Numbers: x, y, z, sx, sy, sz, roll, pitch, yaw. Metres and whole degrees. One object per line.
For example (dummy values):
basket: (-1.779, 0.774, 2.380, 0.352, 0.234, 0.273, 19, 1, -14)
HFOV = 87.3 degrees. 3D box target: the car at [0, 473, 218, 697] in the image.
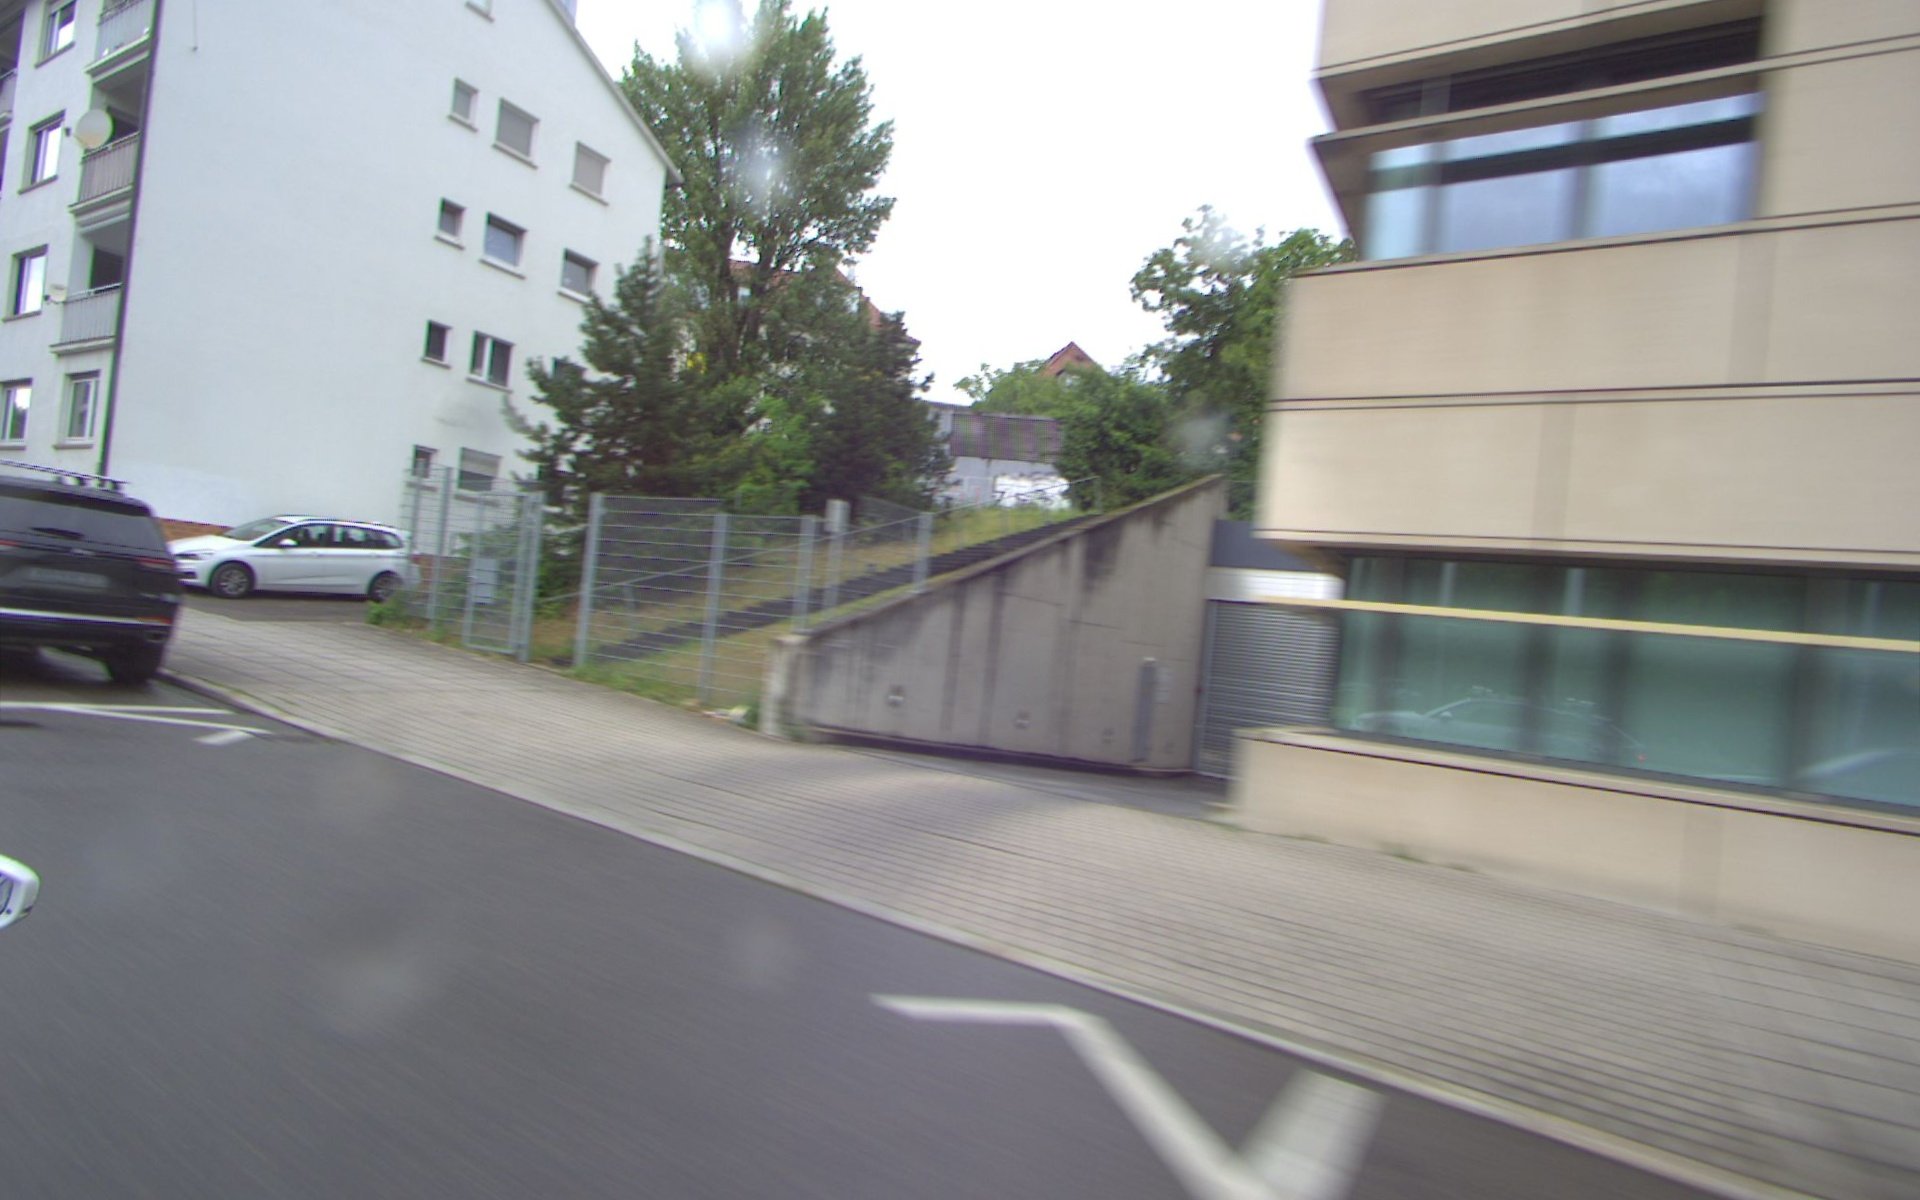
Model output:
car: (-9.511, -0.294, 9.759, 4.717, 1.770, 1.940, 6, -2, 32)

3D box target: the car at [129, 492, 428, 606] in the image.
car: (-13.212, -0.925, 19.810, 1.873, 1.734, 4.441, 6, 1, 31)
